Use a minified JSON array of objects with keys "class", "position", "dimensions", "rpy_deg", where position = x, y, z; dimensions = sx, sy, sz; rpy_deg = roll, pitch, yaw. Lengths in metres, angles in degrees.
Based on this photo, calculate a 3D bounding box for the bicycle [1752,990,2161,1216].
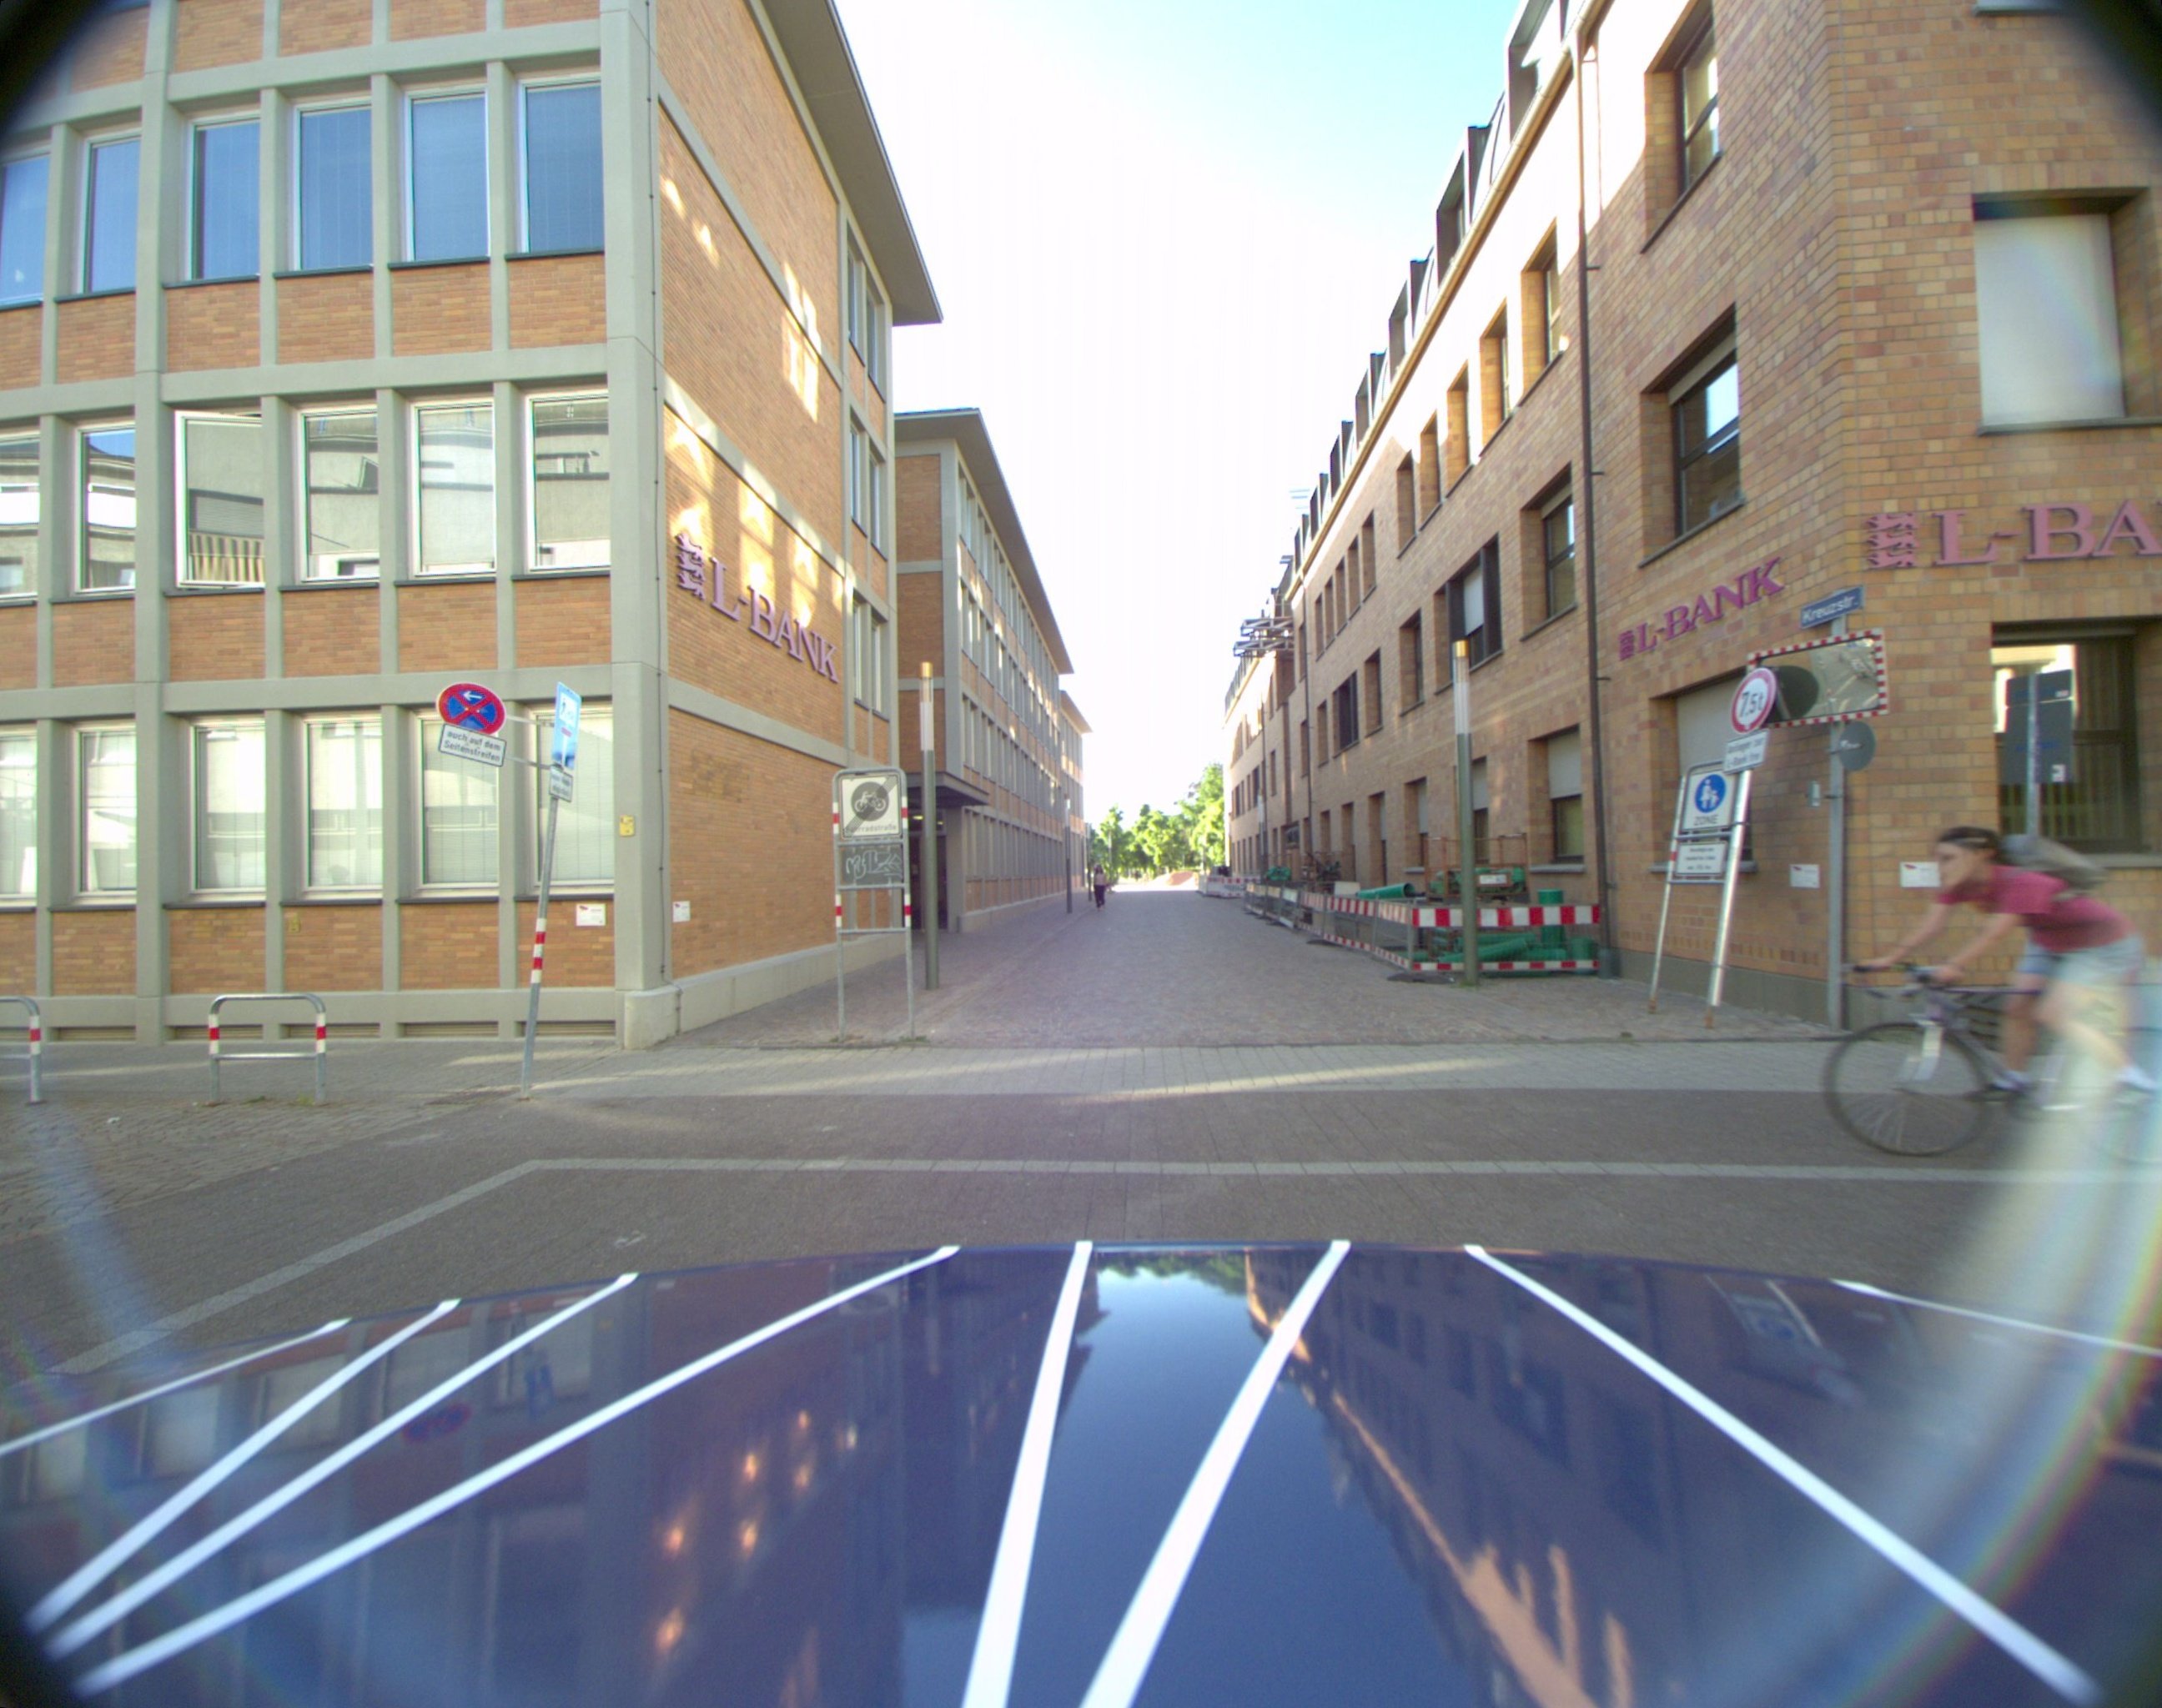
[{"class":"bicycle","position":[4.318,1.188,3.718],"dimensions":[1.589,0.951,0.436],"rpy_deg":[-1,0,5]}]

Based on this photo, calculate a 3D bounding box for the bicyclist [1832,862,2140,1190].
[{"class":"bicyclist","position":[4.373,0.796,3.718],"dimensions":[0.874,1.488,0.429],"rpy_deg":[-1,-2,4]}]

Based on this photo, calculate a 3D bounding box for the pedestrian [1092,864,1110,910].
[{"class":"pedestrian","position":[0.798,1.309,29.721],"dimensions":[0.638,1.774,0.653],"rpy_deg":[-1,-3,5]}]
